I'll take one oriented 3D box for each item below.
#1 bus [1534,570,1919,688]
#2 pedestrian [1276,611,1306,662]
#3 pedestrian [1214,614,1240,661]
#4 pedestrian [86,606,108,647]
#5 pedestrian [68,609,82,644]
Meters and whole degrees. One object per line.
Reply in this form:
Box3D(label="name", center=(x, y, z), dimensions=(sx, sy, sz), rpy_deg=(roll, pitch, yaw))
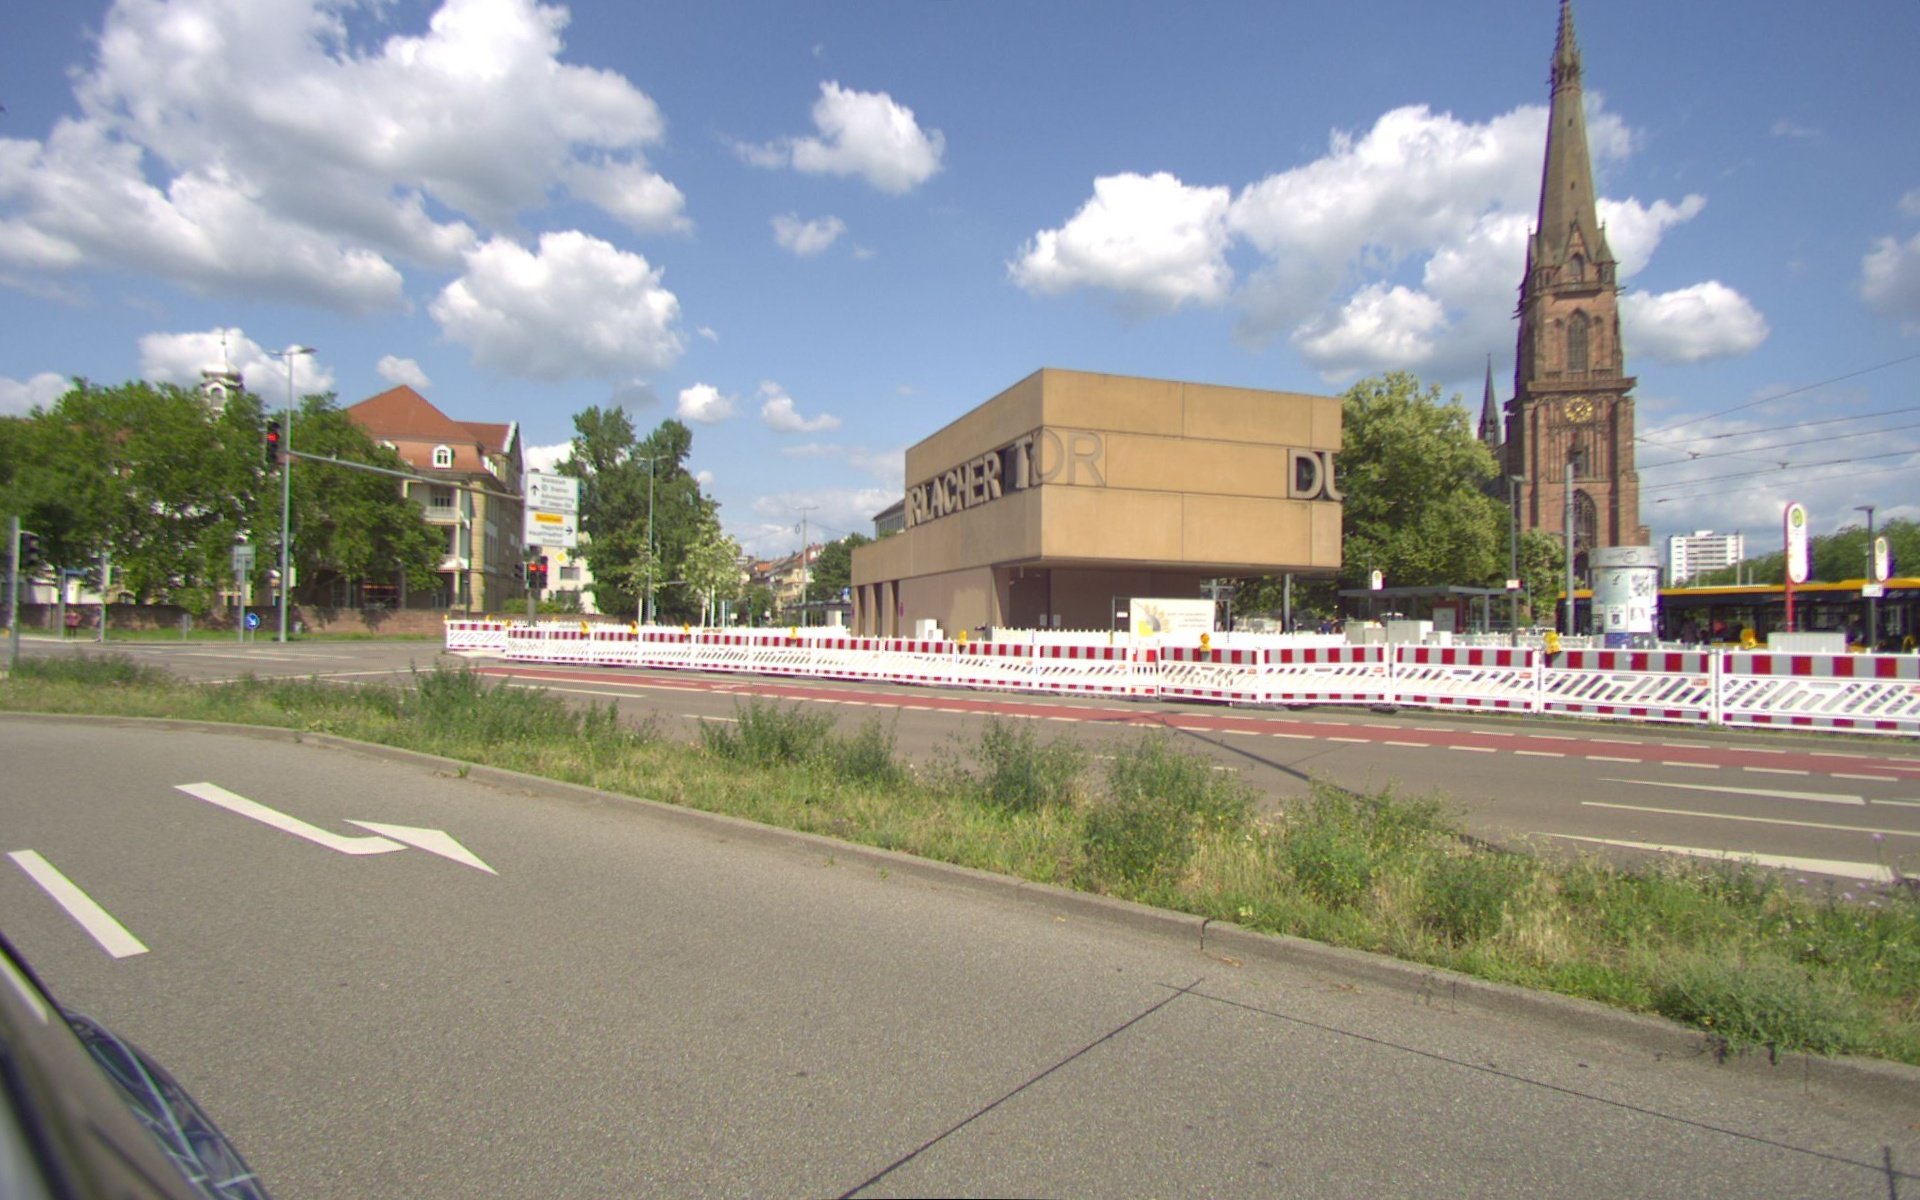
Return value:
Box3D(label="bus", center=(25.207, 0.932, 32.791), dimensions=(2.785, 3.160, 12.880), rpy_deg=(1, -2, -19))
Box3D(label="pedestrian", center=(10.727, 1.176, 32.788), dimensions=(0.720, 1.642, 0.561), rpy_deg=(1, -1, -24))
Box3D(label="pedestrian", center=(9.482, 1.310, 35.992), dimensions=(0.763, 1.644, 0.646), rpy_deg=(0, -1, 30))
Box3D(label="pedestrian", center=(-42.510, 1.299, 49.855), dimensions=(0.616, 2.009, 0.579), rpy_deg=(0, 0, 13))
Box3D(label="pedestrian", center=(-44.091, 1.303, 50.410), dimensions=(0.363, 1.745, 0.452), rpy_deg=(0, 0, -16))
